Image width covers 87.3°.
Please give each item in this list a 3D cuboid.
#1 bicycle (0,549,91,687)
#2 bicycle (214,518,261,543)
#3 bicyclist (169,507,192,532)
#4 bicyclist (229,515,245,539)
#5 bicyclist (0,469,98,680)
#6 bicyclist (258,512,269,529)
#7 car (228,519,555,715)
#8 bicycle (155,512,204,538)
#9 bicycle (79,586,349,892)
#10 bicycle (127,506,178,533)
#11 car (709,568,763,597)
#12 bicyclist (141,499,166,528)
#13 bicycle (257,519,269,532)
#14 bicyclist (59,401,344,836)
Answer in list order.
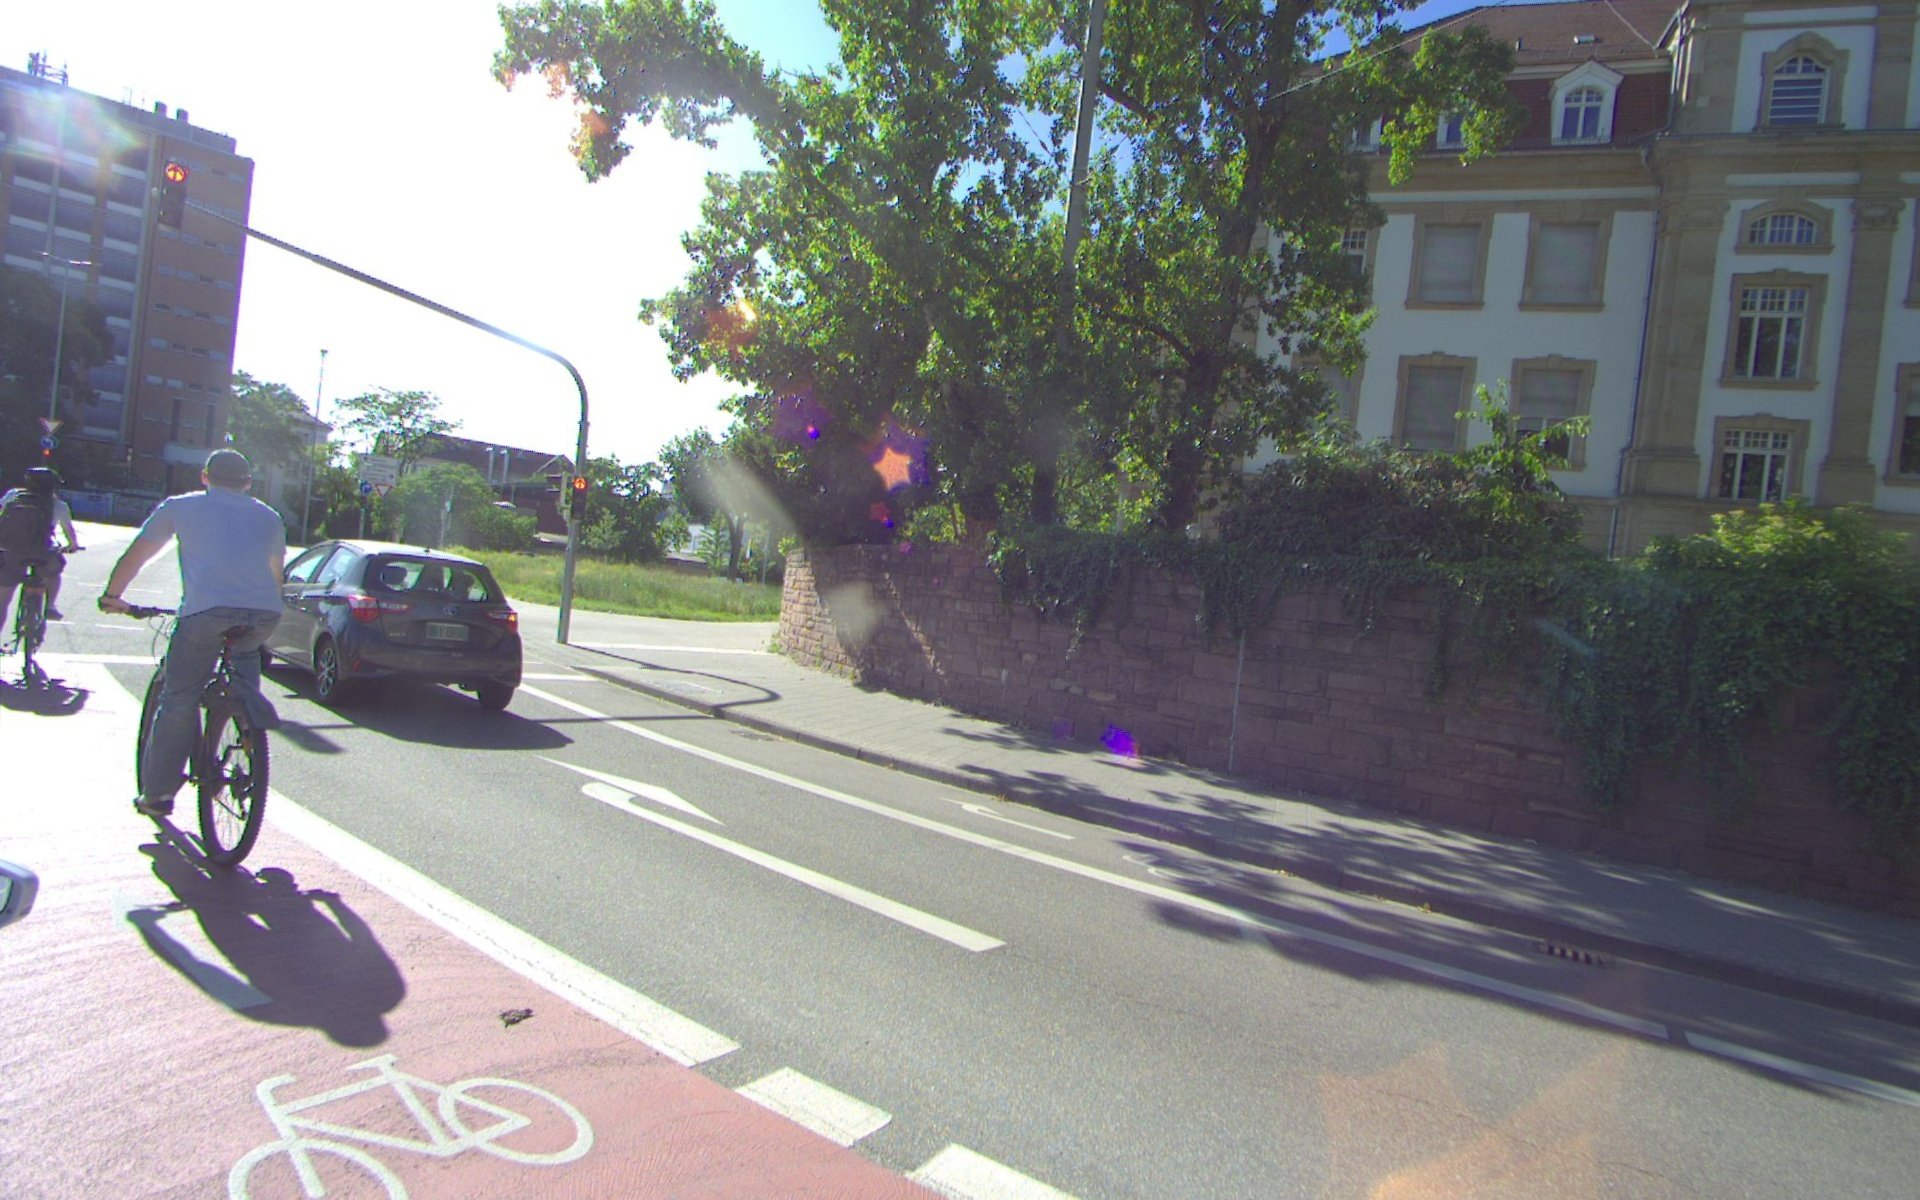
[{"bbox_3d":[-8.021,0.112,8.598,0.721,0.971,1.860,8,-1,-44],"label":"bicycle"},{"bbox_3d":[-56.434,-5.432,78.633,2.784,1.559,0.877,8,-2,-34],"label":"bicycle"},{"bbox_3d":[-60.690,-6.252,78.324,1.154,1.818,0.874,7,-1,-43],"label":"bicyclist"},{"bbox_3d":[-56.483,-5.727,78.597,0.852,1.712,0.877,7,-1,-33],"label":"bicyclist"},{"bbox_3d":[-7.904,-0.230,8.514,0.720,1.645,1.042,8,-1,-44],"label":"bicyclist"},{"bbox_3d":[-63.622,-7.234,91.927,0.613,1.462,0.813,6,1,-28],"label":"bicyclist"},{"bbox_3d":[-6.003,0.123,10.462,3.607,1.560,1.754,6,-1,41],"label":"car"},{"bbox_3d":[-60.744,-5.813,78.321,2.794,1.559,0.873,8,-2,-44],"label":"bicycle"},{"bbox_3d":[-3.619,0.572,4.811,1.805,1.090,0.610,6,0,42],"label":"bicycle"},{"bbox_3d":[-59.661,-5.941,74.366,2.784,1.559,0.877,8,-2,-34],"label":"bicycle"},{"bbox_3d":[-20.108,-1.542,90.322,4.310,2.037,1.988,7,-2,-27],"label":"car"},{"bbox_3d":[-59.600,-6.368,74.366,1.199,1.919,0.877,7,-1,-33],"label":"bicyclist"},{"bbox_3d":[-63.675,-6.830,91.945,0.603,1.106,1.660,6,1,-27],"label":"bicycle"},{"bbox_3d":[-3.588,0.074,4.748,1.000,1.797,0.748,7,0,42],"label":"bicyclist"}]
